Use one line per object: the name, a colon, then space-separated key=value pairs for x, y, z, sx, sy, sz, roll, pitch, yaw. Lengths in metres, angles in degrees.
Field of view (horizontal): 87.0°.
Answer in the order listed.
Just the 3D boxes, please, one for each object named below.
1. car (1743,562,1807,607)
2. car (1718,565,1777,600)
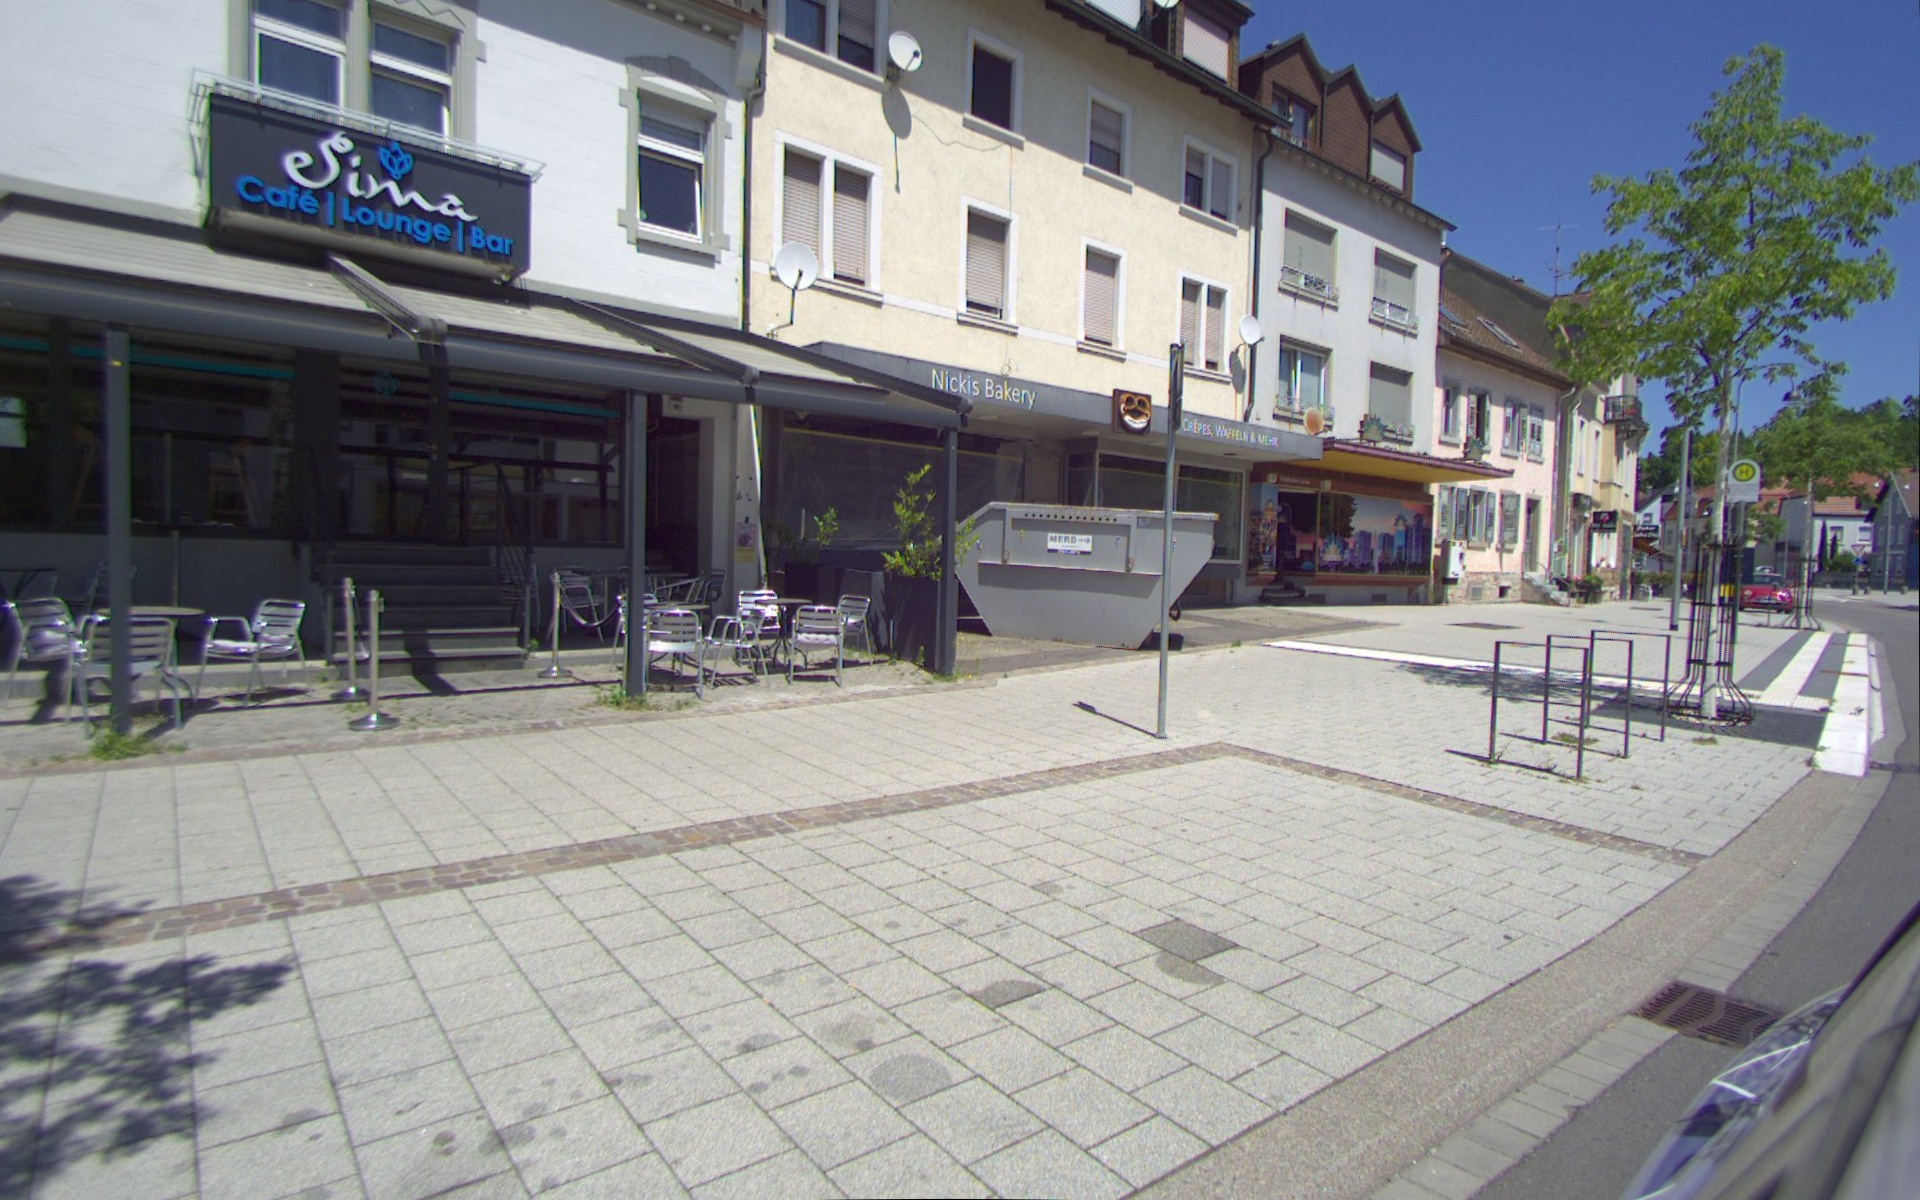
car: x=30.894 y=-0.618 z=38.448 sx=1.676 sy=1.532 sz=3.342 roll=4 pitch=4 yaw=37
car: x=38.414 y=-0.881 z=49.461 sx=1.723 sy=1.490 sz=4.275 roll=5 pitch=5 yaw=32
